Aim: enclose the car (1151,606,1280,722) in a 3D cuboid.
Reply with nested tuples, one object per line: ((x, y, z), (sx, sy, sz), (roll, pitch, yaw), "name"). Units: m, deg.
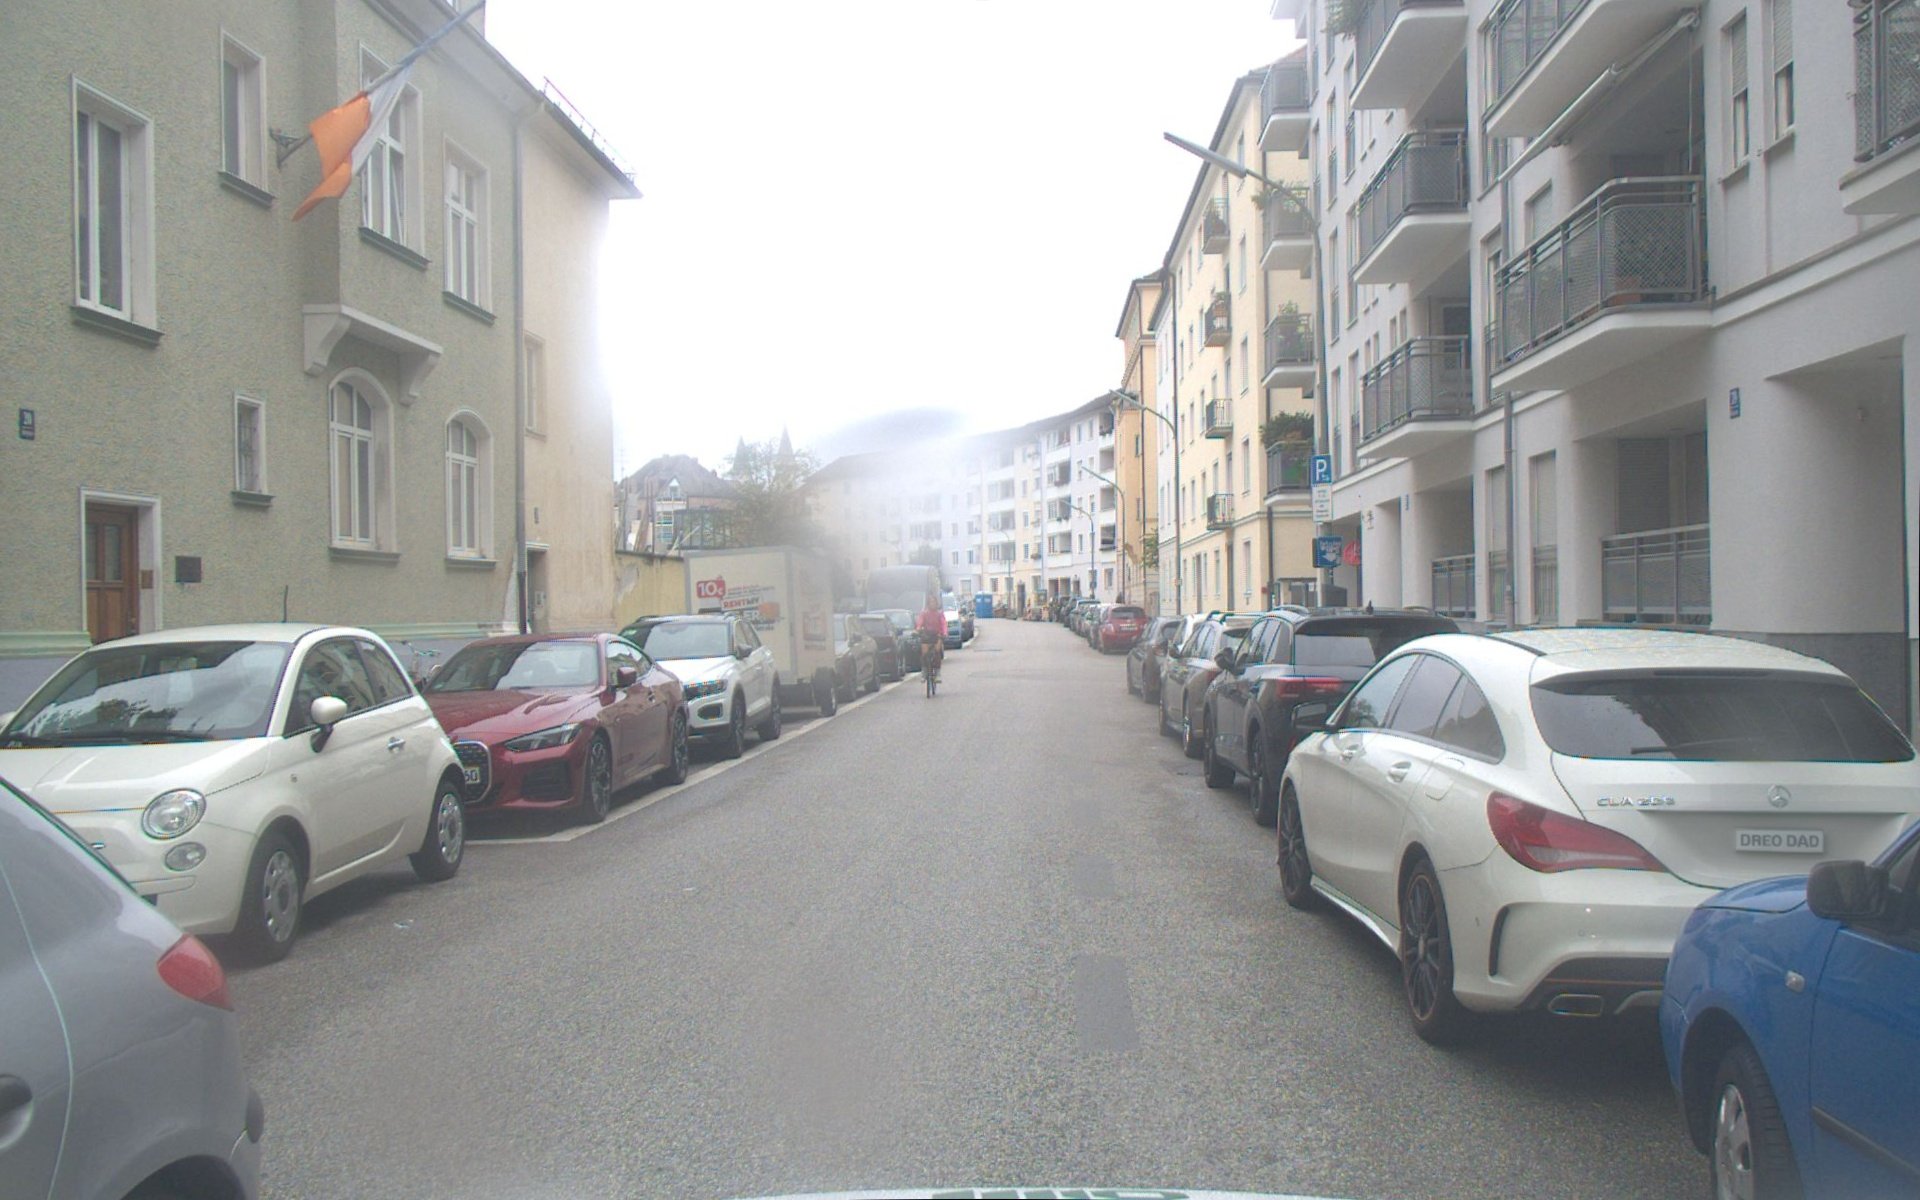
((3.713, 0.884, 24.471), (1.488, 1.557, 3.527), (1, 0, 2), "car")

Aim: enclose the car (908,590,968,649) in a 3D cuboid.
((-0.758, 0.653, 59.578), (1.844, 1.965, 4.602), (-3, 0, 2), "car")

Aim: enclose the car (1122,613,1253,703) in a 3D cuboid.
((3.861, 0.953, 28.659), (1.727, 1.432, 4.078), (-1, -1, 0), "car")

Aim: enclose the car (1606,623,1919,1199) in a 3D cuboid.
((2.491, 0.784, 2.628), (1.585, 1.437, 3.554), (1, -1, 1), "car")

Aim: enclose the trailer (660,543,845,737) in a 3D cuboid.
((-2.931, 0.534, 24.254), (1.673, 2.504, 4.389), (-3, 0, 5), "trailer")

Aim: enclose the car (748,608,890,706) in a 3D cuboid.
((-2.489, 0.981, 30.273), (1.729, 1.565, 4.543), (-3, -1, 5), "car")

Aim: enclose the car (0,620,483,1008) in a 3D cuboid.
((-3.664, 0.892, 8.313), (1.443, 1.492, 3.314), (-2, 0, 2), "car")

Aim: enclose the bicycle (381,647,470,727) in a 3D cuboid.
((-6.958, 1.109, 21.597), (0.512, 0.922, 1.929), (2, 0, 0), "bicycle")

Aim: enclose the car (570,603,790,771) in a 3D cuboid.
((-3.076, 0.898, 18.922), (1.652, 1.631, 3.922), (-3, 0, 2), "car")

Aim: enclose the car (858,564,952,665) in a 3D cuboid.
((-1.493, 0.364, 46.879), (2.044, 2.682, 5.380), (-1, 0, 4), "car")

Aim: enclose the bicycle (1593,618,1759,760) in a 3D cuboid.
((6.548, 0.776, 15.254), (0.614, 1.180, 2.127), (-1, 0, 1), "bicycle")

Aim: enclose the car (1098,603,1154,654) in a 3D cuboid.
((5.246, 0.874, 52.500), (1.562, 1.535, 3.802), (-1, 0, 3), "car")

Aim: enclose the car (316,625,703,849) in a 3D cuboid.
((-3.439, 0.976, 13.542), (1.822, 1.437, 4.334), (-3, -1, 1), "car")

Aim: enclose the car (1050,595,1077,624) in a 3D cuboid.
((6.121, 0.569, 97.901), (1.443, 1.669, 4.002), (0, 0, 1), "car")

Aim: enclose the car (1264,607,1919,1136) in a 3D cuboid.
((2.412, 0.787, 6.827), (1.623, 1.465, 4.207), (2, 0, 2), "car")

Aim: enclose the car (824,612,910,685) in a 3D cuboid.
((-2.012, 1.035, 36.672), (1.666, 1.471, 3.825), (0, 1, 1), "car")

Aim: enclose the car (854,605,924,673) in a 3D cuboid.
((-1.737, 0.958, 41.378), (1.553, 1.565, 3.543), (-2, -1, 0), "car")

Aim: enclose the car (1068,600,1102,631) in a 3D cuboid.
((6.610, 0.807, 87.777), (1.557, 1.610, 4.300), (0, 0, 1), "car")

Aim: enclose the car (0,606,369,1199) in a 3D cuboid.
((-2.003, 0.736, 1.334), (1.548, 1.436, 3.614), (-1, -1, 4), "car")

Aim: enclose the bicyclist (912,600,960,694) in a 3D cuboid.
((-0.414, 0.809, 28.936), (0.679, 1.589, 0.967), (-2, 0, 5), "bicyclist")

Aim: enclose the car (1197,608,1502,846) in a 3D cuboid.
((2.927, 0.869, 13.203), (1.570, 1.557, 3.985), (2, 0, 2), "car")

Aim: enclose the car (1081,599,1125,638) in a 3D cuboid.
((5.880, 0.761, 68.316), (1.566, 1.517, 3.799), (-1, 0, 1), "car")

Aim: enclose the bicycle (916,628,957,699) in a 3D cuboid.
((-0.404, 1.096, 28.972), (0.493, 1.148, 1.774), (-2, 0, 6), "bicycle")

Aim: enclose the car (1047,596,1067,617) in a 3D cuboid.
((6.412, 0.418, 109.614), (1.245, 1.321, 2.798), (0, 0, 1), "car")

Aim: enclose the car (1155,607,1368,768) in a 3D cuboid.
((3.302, 0.891, 18.957), (1.698, 1.557, 4.622), (2, 0, 2), "car")
